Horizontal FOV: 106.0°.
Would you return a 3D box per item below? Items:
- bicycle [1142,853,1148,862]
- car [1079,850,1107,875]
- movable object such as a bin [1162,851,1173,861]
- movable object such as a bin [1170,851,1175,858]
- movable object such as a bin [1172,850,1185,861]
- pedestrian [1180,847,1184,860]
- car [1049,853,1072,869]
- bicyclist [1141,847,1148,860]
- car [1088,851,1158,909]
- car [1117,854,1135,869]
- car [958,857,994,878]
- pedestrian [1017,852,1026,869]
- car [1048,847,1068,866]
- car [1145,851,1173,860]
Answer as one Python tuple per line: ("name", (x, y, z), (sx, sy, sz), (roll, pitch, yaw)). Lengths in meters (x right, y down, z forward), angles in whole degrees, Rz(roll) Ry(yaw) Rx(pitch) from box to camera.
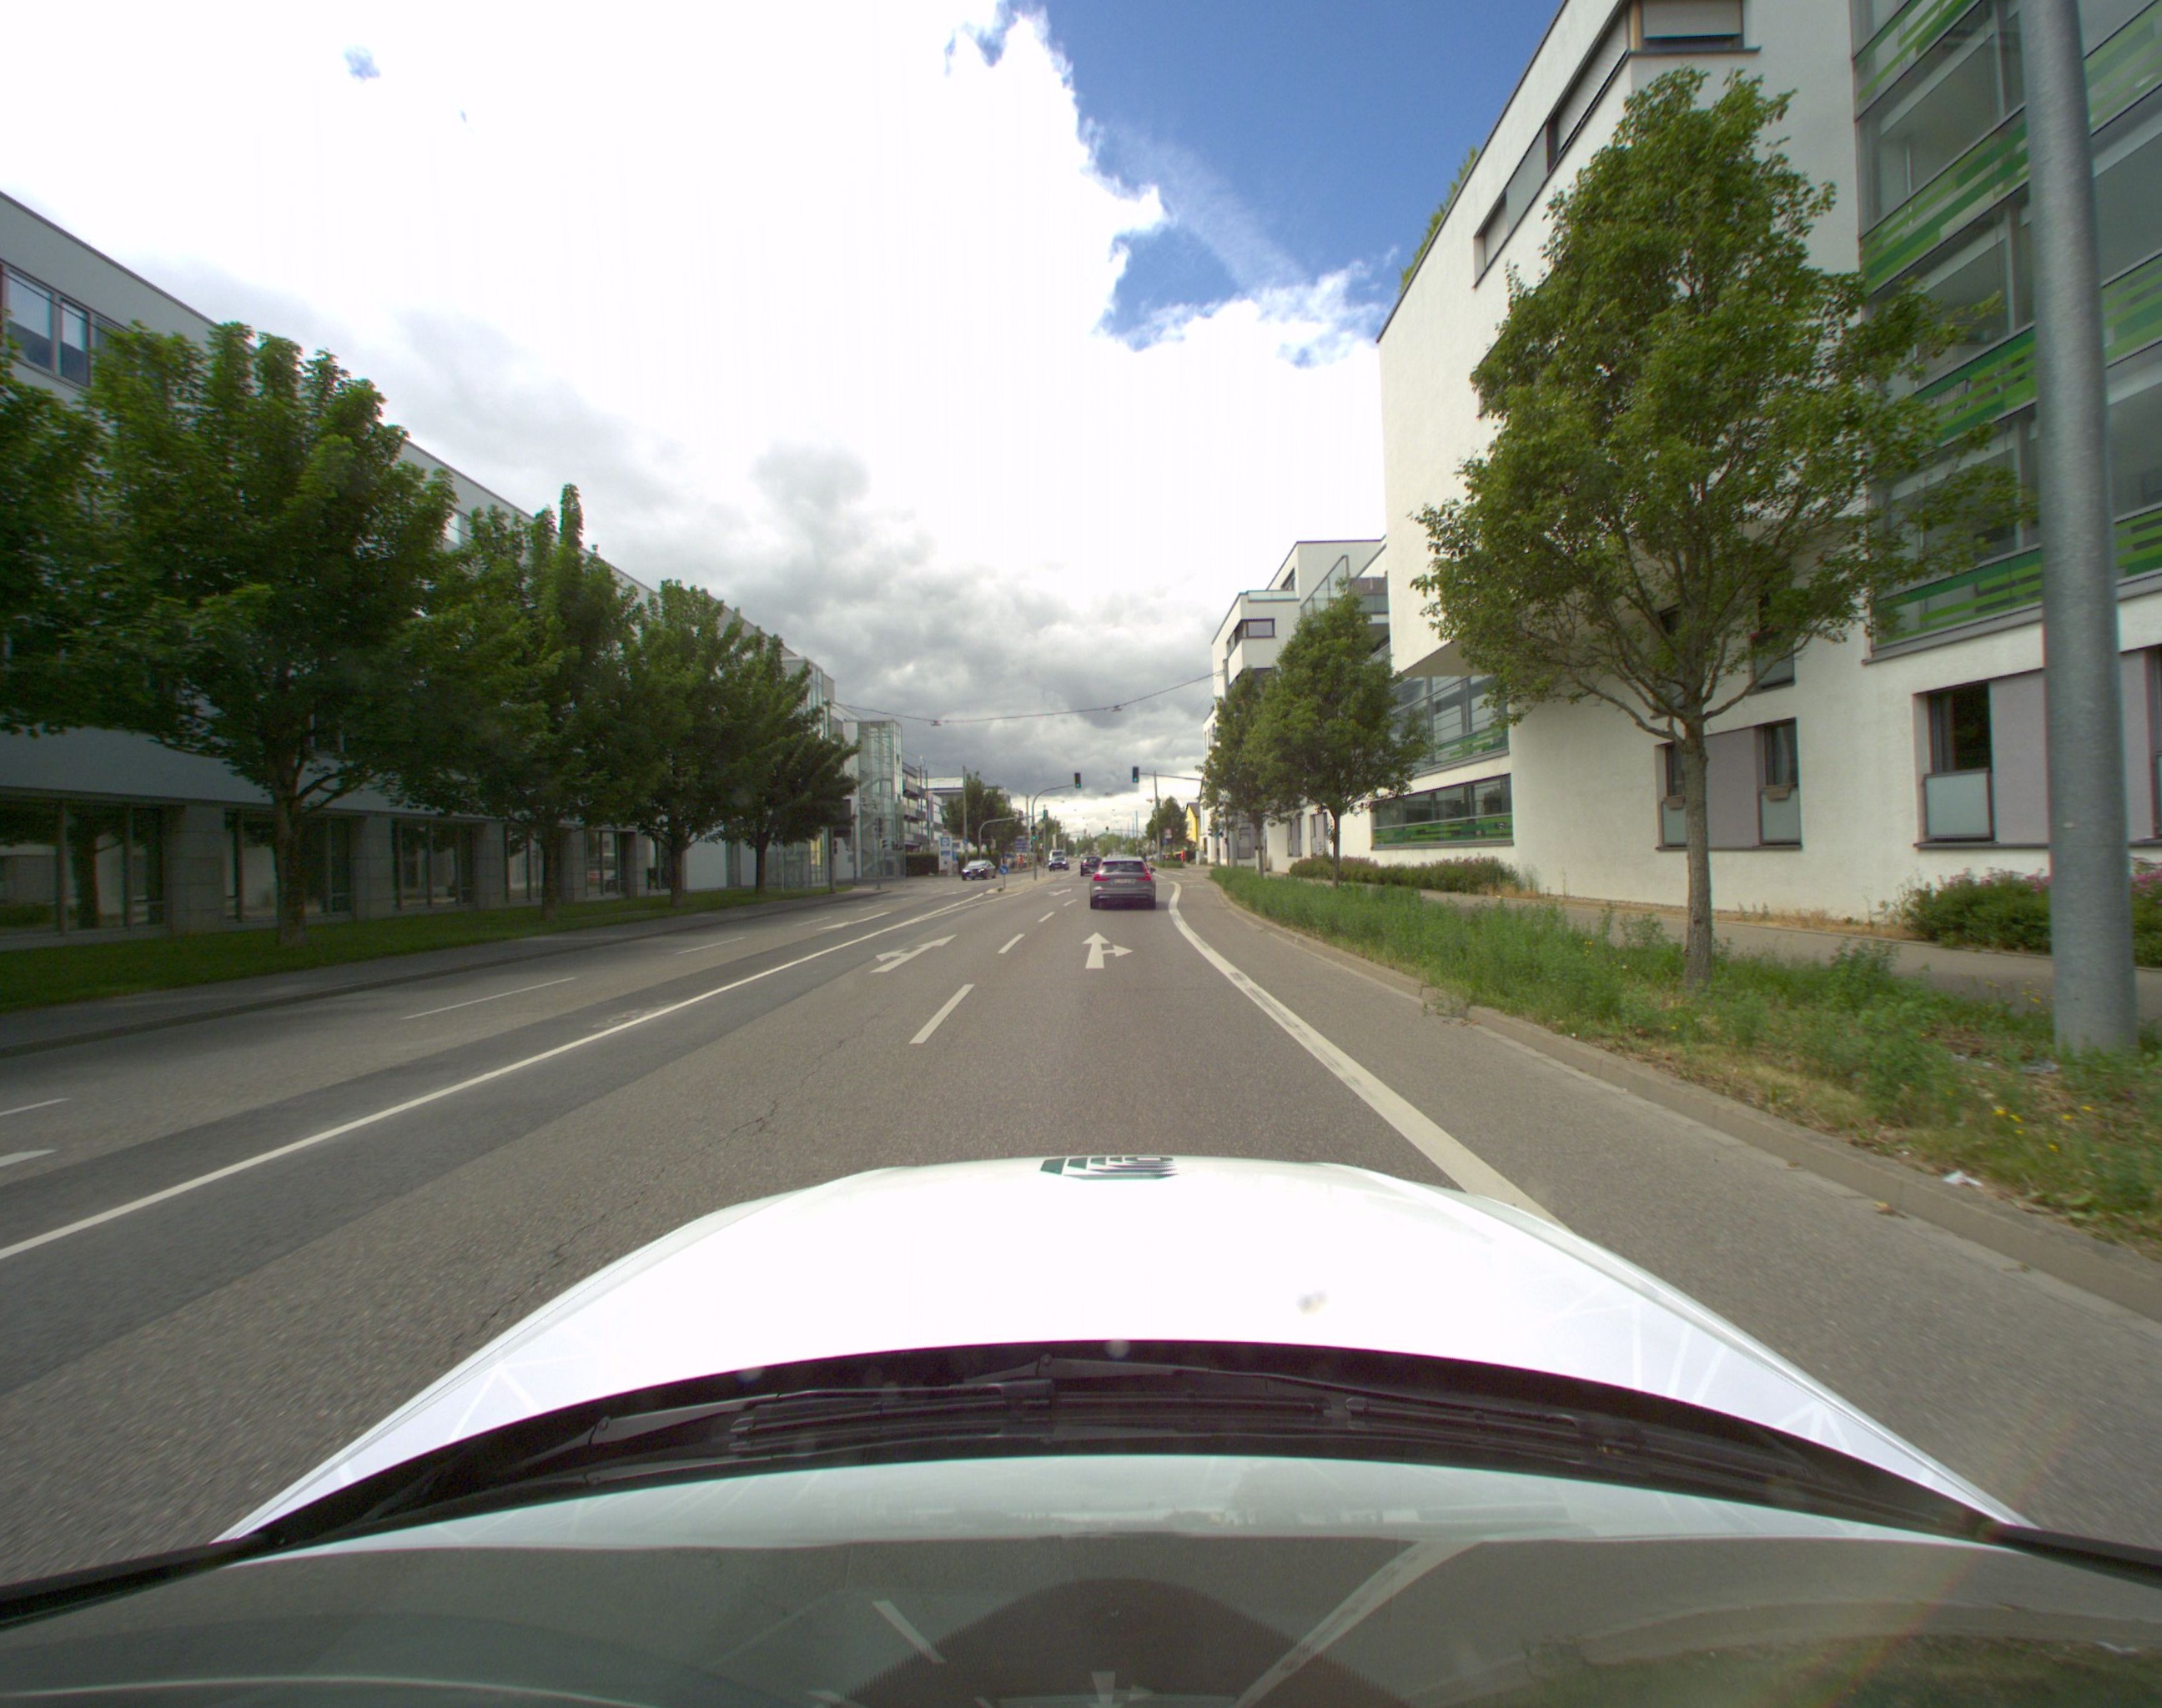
("bicycle", (8.431, 0.490, 107.638), (0.635, 1.063, 1.979), (-5, 0, 2))
("car", (0.833, 0.599, 58.346), (1.987, 1.717, 3.999), (0, -1, 0))
("movable object such as a bin", (12.249, 0.313, 115.286), (1.308, 1.361, 1.257), (-2, -2, 18))
("movable object such as a bin", (13.110, 0.092, 116.168), (0.561, 1.026, 0.408), (-3, -2, 39))
("movable object such as a bin", (13.794, 0.193, 115.561), (1.306, 1.435, 1.259), (-3, -2, 39))
("pedestrian", (14.098, -0.039, 113.582), (0.503, 1.765, 0.503), (0, -1, 18))
("car", (-2.137, 0.719, 85.677), (1.876, 1.552, 4.545), (-3, -1, 5))
("bicyclist", (8.381, -0.009, 107.610), (0.635, 1.675, 0.891), (-5, 0, 2))
("car", (1.269, 0.724, 24.055), (1.887, 1.554, 4.003), (0, -1, 3))
("car", (5.188, 0.890, 94.765), (1.986, 1.695, 4.001), (0, -1, 1))
("car", (-7.976, 1.028, 62.334), (2.017, 1.445, 5.049), (-3, -1, 0))
("pedestrian", (-7.030, 0.755, 95.851), (0.717, 2.014, 0.815), (-1, -2, 45))
("car", (-3.161, 0.395, 113.649), (2.134, 2.471, 6.077), (-3, 0, 3))
("car", (13.812, 0.303, 144.323), (4.679, 1.493, 2.046), (-1, 0, 1))
